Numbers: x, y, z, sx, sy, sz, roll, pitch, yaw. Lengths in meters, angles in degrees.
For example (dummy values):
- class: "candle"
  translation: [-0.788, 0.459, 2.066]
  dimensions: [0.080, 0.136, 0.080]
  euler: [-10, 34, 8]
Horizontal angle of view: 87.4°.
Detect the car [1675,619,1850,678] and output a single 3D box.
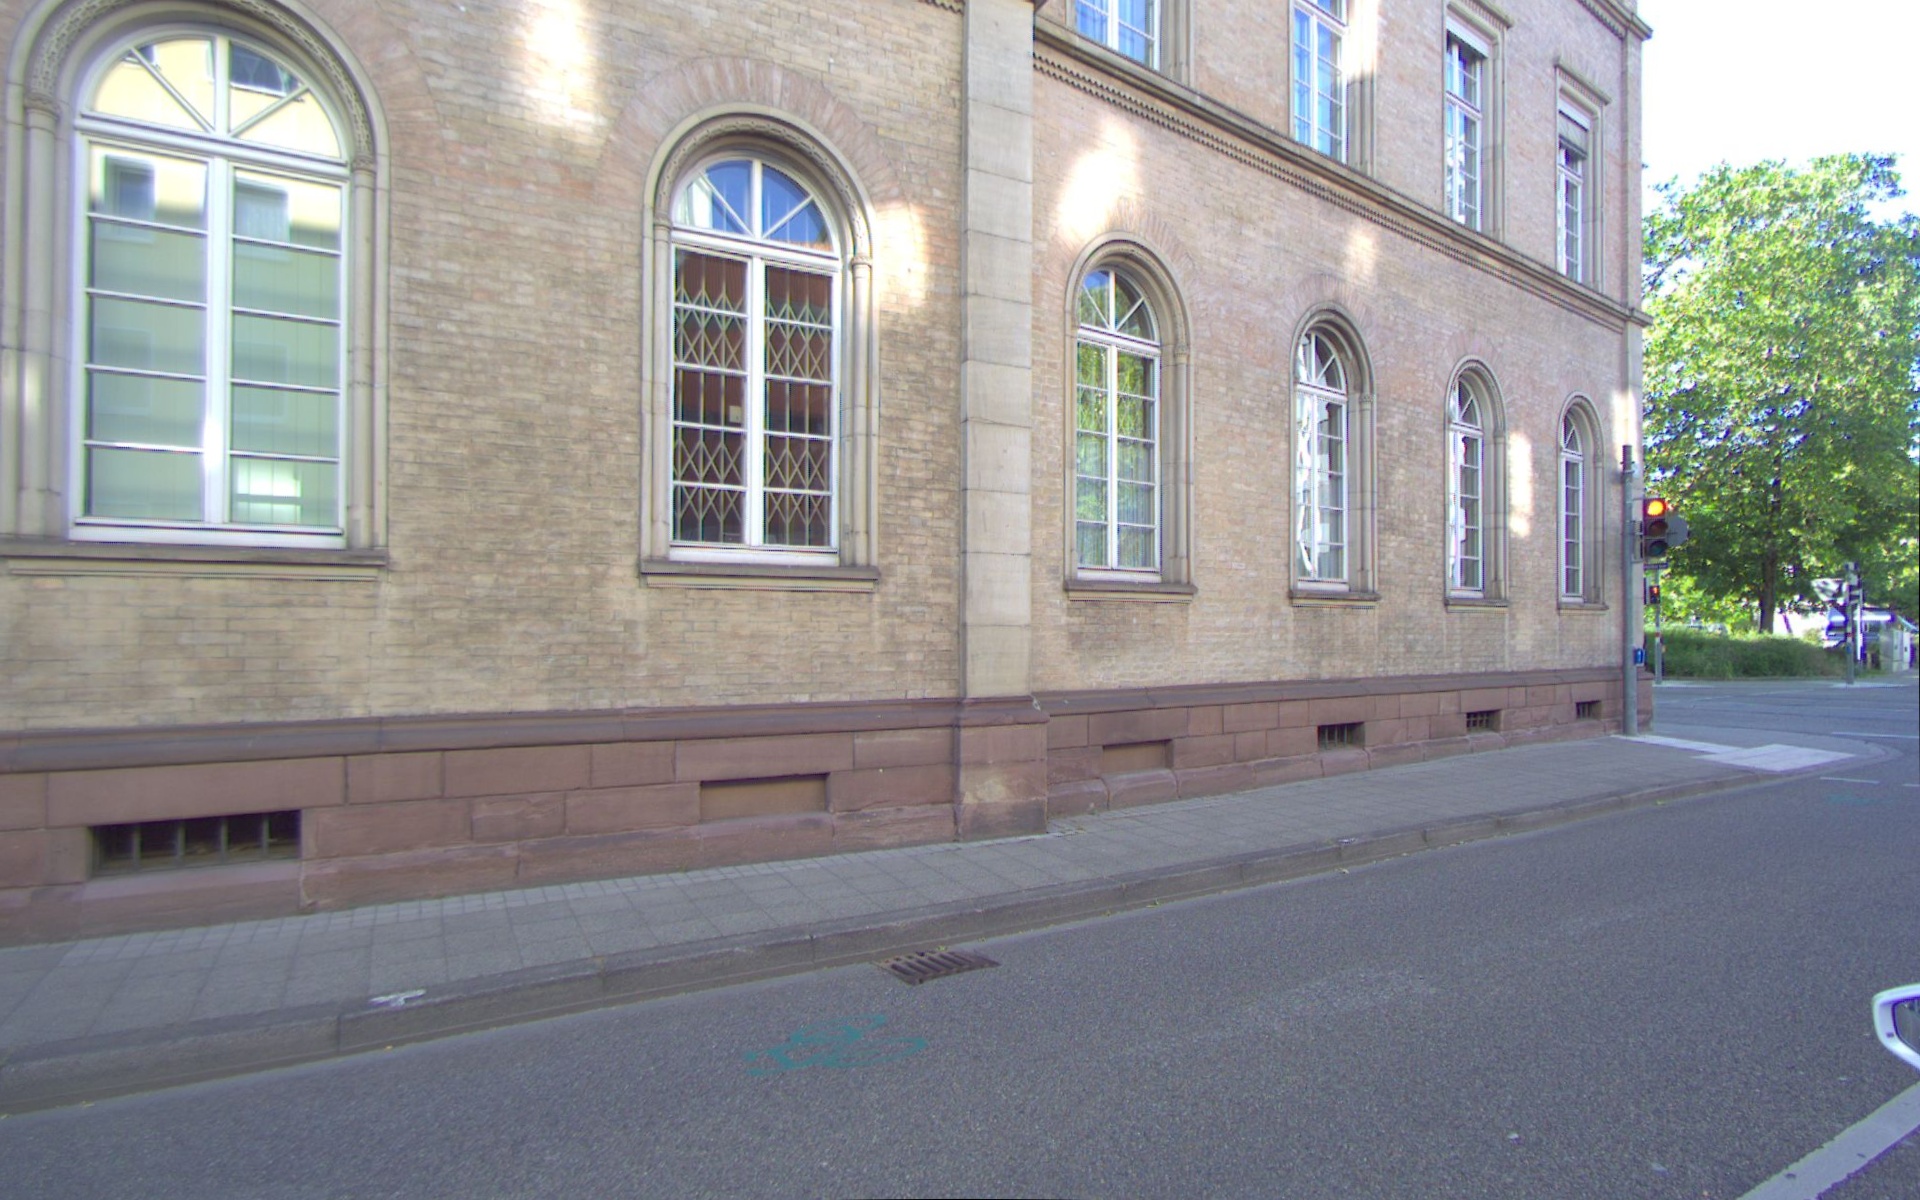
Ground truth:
- class: "car"
  translation: [26.352, 1.553, 33.109]
  dimensions: [1.888, 1.801, 4.193]
  euler: [1, -2, -37]
